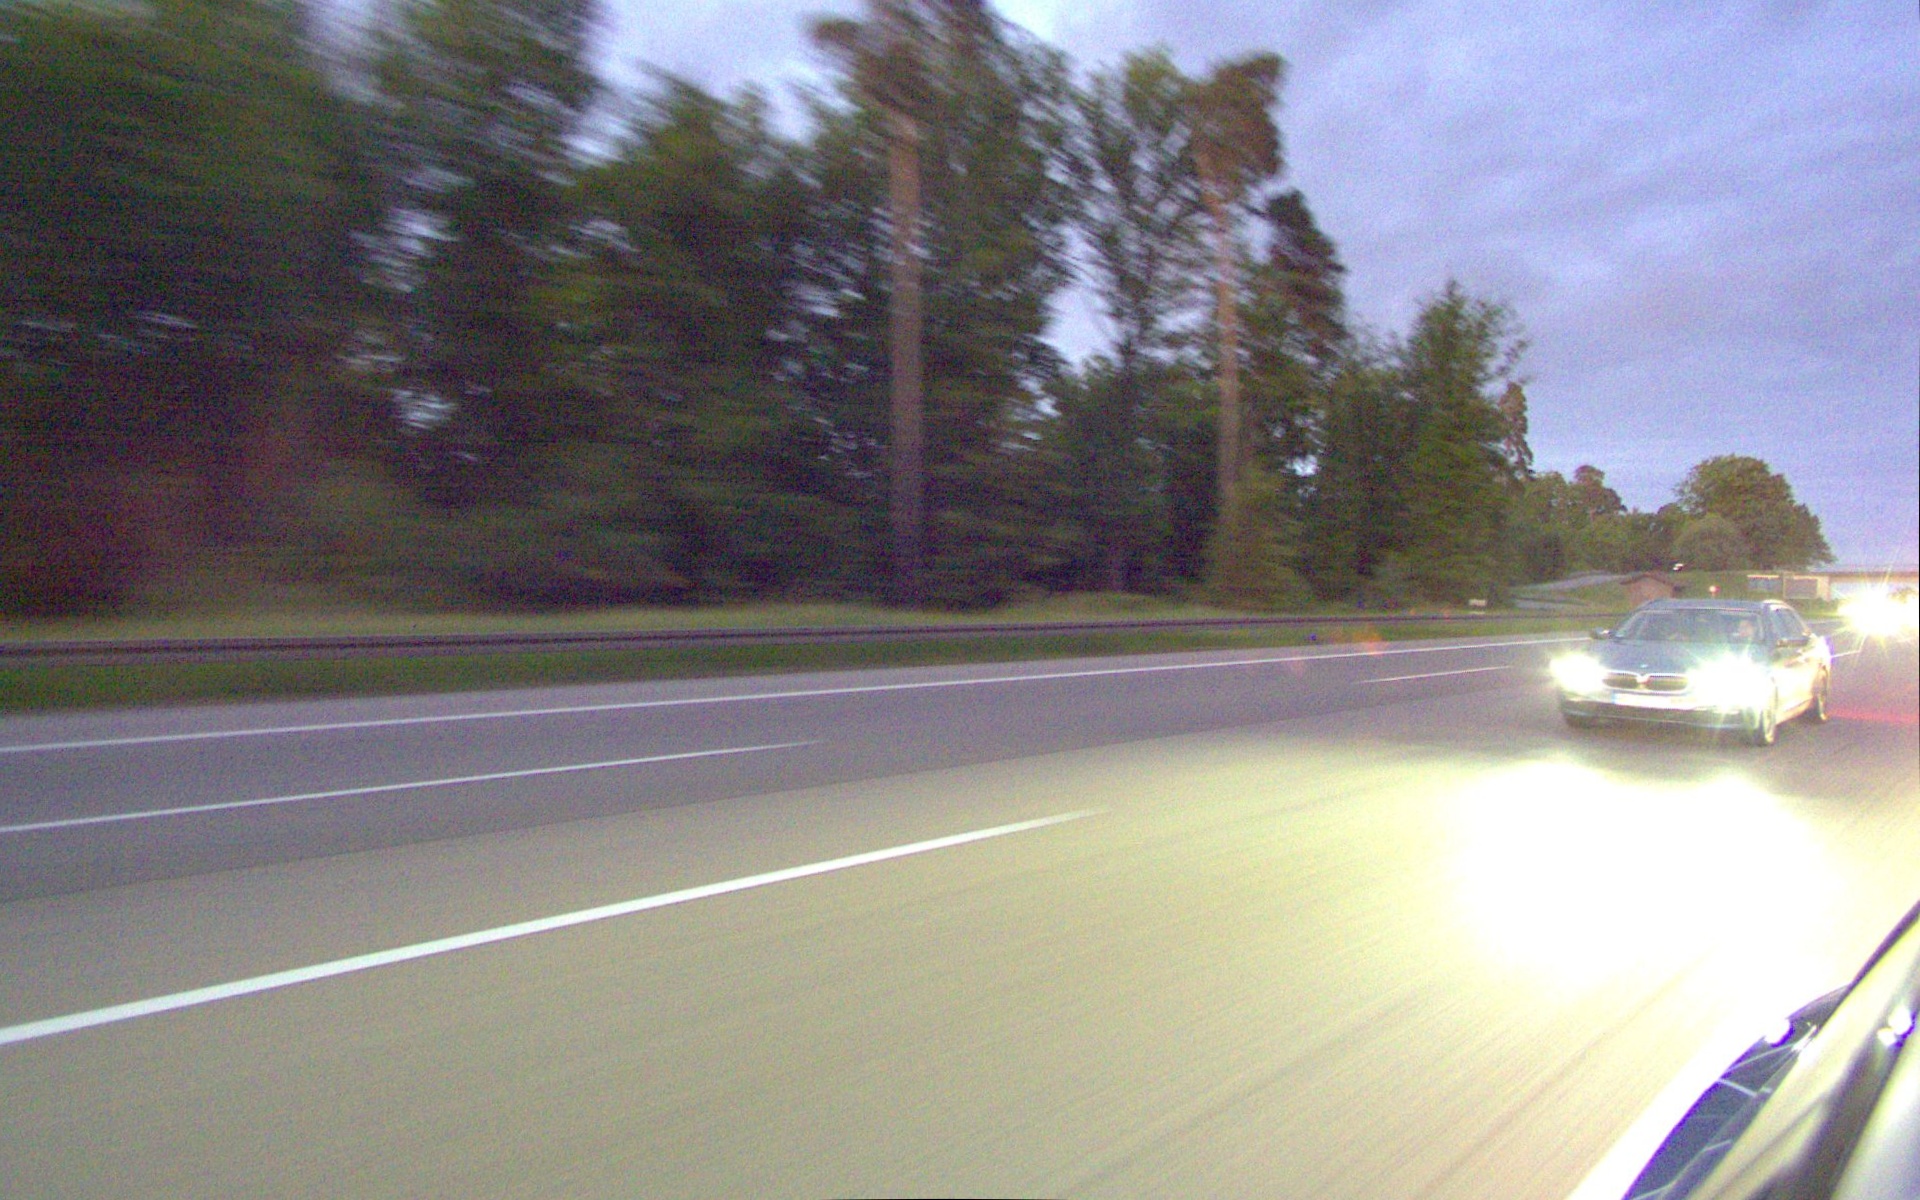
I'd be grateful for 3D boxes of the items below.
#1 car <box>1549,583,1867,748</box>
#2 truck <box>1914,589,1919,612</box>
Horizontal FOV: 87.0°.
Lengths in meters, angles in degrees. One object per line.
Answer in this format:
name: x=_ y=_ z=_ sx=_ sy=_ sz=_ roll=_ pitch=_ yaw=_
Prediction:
car: x=9.032 y=0.601 z=12.025 sx=5.139 sy=1.556 sz=1.913 roll=0 pitch=1 yaw=-40
truck: x=175.811 y=0.155 z=183.507 sx=3.132 sy=4.062 sz=10.394 roll=1 pitch=0 yaw=39
